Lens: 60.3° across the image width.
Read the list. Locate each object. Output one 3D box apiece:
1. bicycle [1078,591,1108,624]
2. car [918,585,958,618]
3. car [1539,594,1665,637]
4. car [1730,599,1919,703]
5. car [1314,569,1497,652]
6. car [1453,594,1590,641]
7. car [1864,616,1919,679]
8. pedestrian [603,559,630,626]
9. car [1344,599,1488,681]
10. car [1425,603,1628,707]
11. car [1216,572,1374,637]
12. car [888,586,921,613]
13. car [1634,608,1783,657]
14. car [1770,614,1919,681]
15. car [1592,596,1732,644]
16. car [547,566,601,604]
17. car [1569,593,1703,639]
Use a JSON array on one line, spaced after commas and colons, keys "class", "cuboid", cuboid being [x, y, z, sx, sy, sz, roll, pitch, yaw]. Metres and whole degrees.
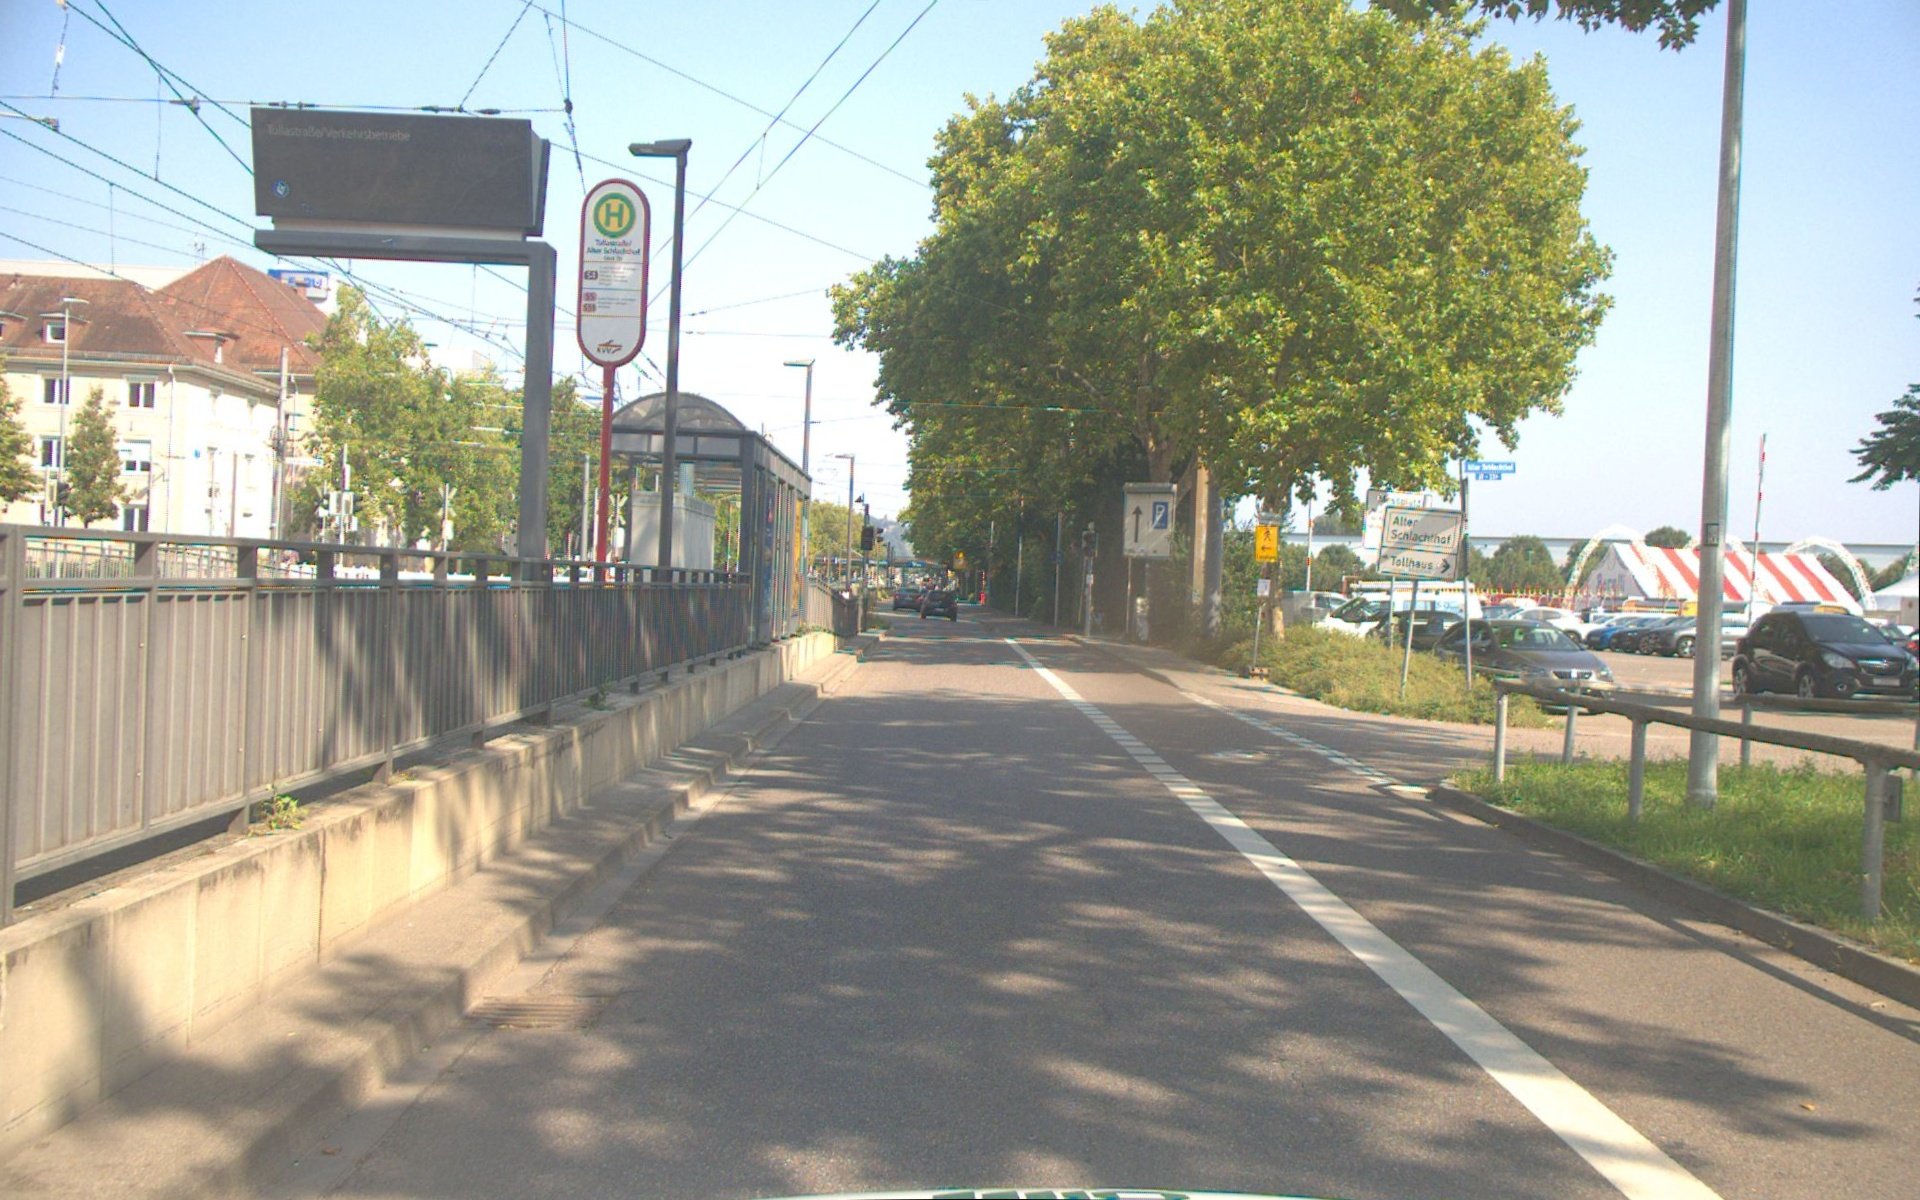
[{"class": "bicycle", "cuboid": [4.507, 0.231, 56.166, 0.598, 1.039, 2.400, 3, 1, -5]}, {"class": "car", "cuboid": [-1.121, 0.060, 81.996, 1.869, 1.564, 3.999, 1, 1, -2]}, {"class": "car", "cuboid": [25.774, 0.611, 66.465, 4.258, 1.489, 1.946, 3, 0, -3]}, {"class": "car", "cuboid": [15.149, 0.836, 28.874, 1.575, 1.603, 3.796, 1, 1, -1]}, {"class": "car", "cuboid": [10.958, 0.233, 40.891, 4.018, 1.952, 1.848, 1, 1, 1]}, {"class": "car", "cuboid": [20.226, 0.620, 59.698, 4.257, 1.489, 1.946, 2, 0, -3]}, {"class": "car", "cuboid": [24.865, 1.250, 41.690, 1.777, 1.518, 4.116, 3, 1, -2]}, {"class": "pedestrian", "cuboid": [-9.543, -0.208, 45.927, 0.695, 1.853, 0.771, 1, -1, -11]}, {"class": "car", "cuboid": [9.164, 0.760, 33.552, 1.693, 1.474, 4.116, 1, 1, -1]}, {"class": "car", "cuboid": [9.202, 0.834, 27.272, 1.693, 1.474, 4.550, 1, 1, -1]}, {"class": "car", "cuboid": [9.317, 0.115, 46.220, 3.907, 1.614, 1.999, 2, 0, -2]}, {"class": "car", "cuboid": [-3.387, -0.044, 100.312, 1.934, 1.564, 3.998, -1, 1, -2]}, {"class": "car", "cuboid": [26.170, 1.109, 57.940, 4.300, 1.489, 1.948, 2, 0, 2]}, {"class": "car", "cuboid": [22.273, 1.155, 41.467, 1.777, 1.420, 4.116, 3, 1, -2]}, {"class": "car", "cuboid": [25.699, 0.711, 60.620, 4.258, 1.489, 1.946, 3, 0, -3]}, {"class": "car", "cuboid": [-20.254, -0.772, 86.866, 1.953, 1.870, 3.999, 2, 1, -2]}, {"class": "car", "cuboid": [25.635, 0.583, 62.828, 4.258, 1.489, 1.946, 3, 0, -3]}]
